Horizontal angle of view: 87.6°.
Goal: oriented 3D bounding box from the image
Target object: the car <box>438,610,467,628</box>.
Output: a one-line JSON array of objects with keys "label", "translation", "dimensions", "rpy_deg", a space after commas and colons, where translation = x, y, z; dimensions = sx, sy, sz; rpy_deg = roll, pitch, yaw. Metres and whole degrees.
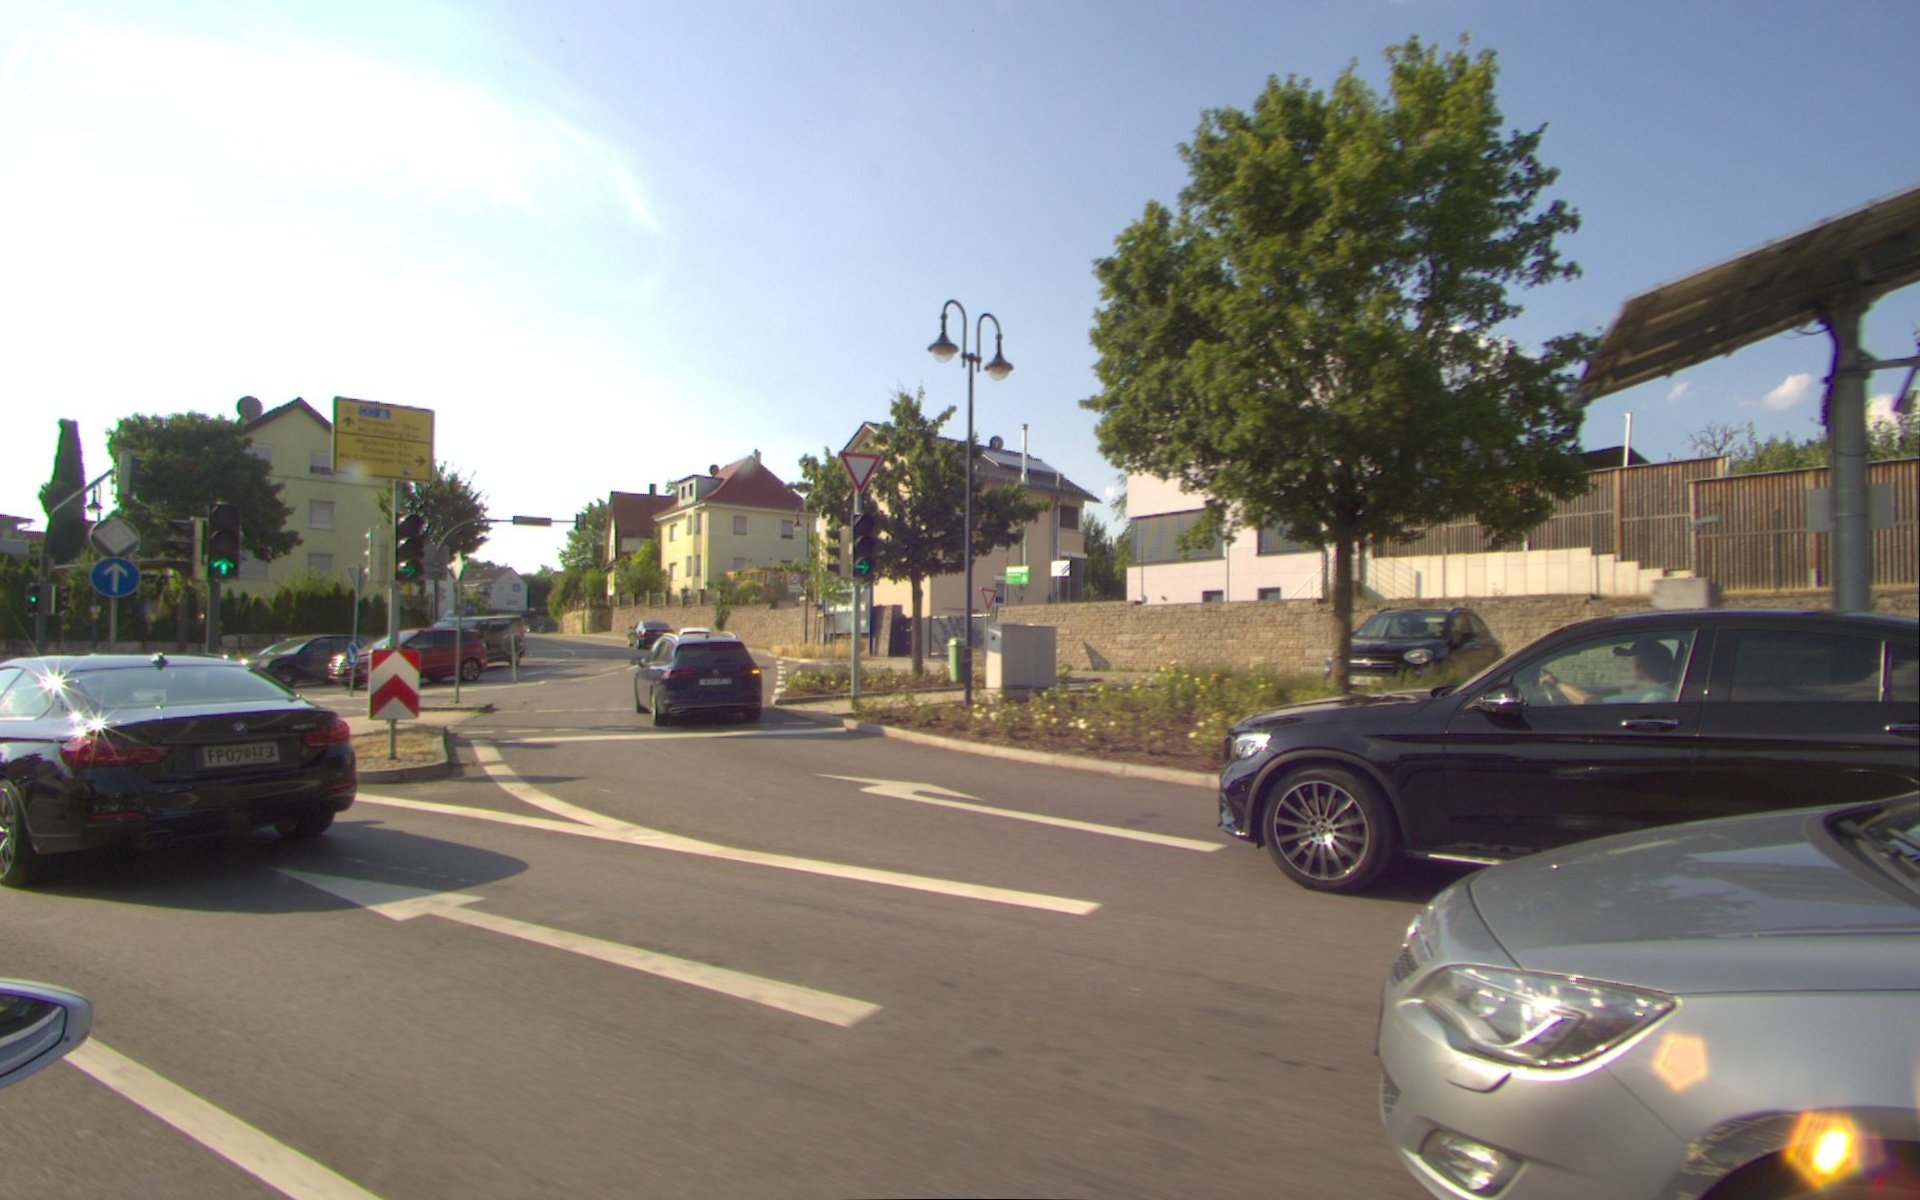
[{"label": "car", "translation": [-40.929, 1.576, 80.820], "dimensions": [1.788, 1.361, 3.988], "rpy_deg": [1, -2, -24]}]

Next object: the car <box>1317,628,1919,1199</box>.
[{"label": "car", "translation": [2.875, 0.776, 1.638], "dimensions": [4.083, 1.441, 1.645], "rpy_deg": [-1, -1, 31]}]

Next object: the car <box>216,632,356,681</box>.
[{"label": "car", "translation": [-22.664, 1.880, 33.807], "dimensions": [1.602, 1.468, 3.595], "rpy_deg": [-2, -1, 28]}]

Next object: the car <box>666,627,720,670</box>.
[{"label": "car", "translation": [-10.041, 1.796, 37.468], "dimensions": [1.835, 1.512, 3.995], "rpy_deg": [1, -2, -17]}]

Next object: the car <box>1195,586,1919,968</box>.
[{"label": "car", "translation": [3.738, 0.792, 5.477], "dimensions": [4.434, 1.586, 1.835], "rpy_deg": [-1, -3, 35]}]

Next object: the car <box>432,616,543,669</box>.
[{"label": "car", "translation": [-18.346, 1.659, 39.204], "dimensions": [1.961, 1.956, 5.181], "rpy_deg": [0, -2, -1]}]

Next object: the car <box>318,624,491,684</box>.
[{"label": "car", "translation": [-16.509, 1.590, 29.977], "dimensions": [1.833, 1.646, 4.239], "rpy_deg": [-1, -2, 26]}]

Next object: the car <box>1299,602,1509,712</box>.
[{"label": "car", "translation": [6.954, 0.849, 15.475], "dimensions": [1.662, 1.474, 4.043], "rpy_deg": [-2, -3, 45]}]

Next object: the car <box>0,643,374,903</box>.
[{"label": "car", "translation": [-6.311, 1.031, 7.365], "dimensions": [4.201, 1.386, 1.697], "rpy_deg": [-1, -2, 32]}]

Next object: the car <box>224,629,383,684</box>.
[{"label": "car", "translation": [-19.954, 1.681, 30.569], "dimensions": [1.579, 1.561, 3.772], "rpy_deg": [-1, -2, 38]}]

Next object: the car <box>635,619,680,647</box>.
[{"label": "car", "translation": [-15.837, 1.736, 52.372], "dimensions": [1.788, 1.361, 3.988], "rpy_deg": [1, -2, -24]}]

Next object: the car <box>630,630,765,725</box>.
[{"label": "car", "translation": [-4.654, 1.243, 17.344], "dimensions": [1.609, 1.428, 4.264], "rpy_deg": [1, -2, -24]}]
